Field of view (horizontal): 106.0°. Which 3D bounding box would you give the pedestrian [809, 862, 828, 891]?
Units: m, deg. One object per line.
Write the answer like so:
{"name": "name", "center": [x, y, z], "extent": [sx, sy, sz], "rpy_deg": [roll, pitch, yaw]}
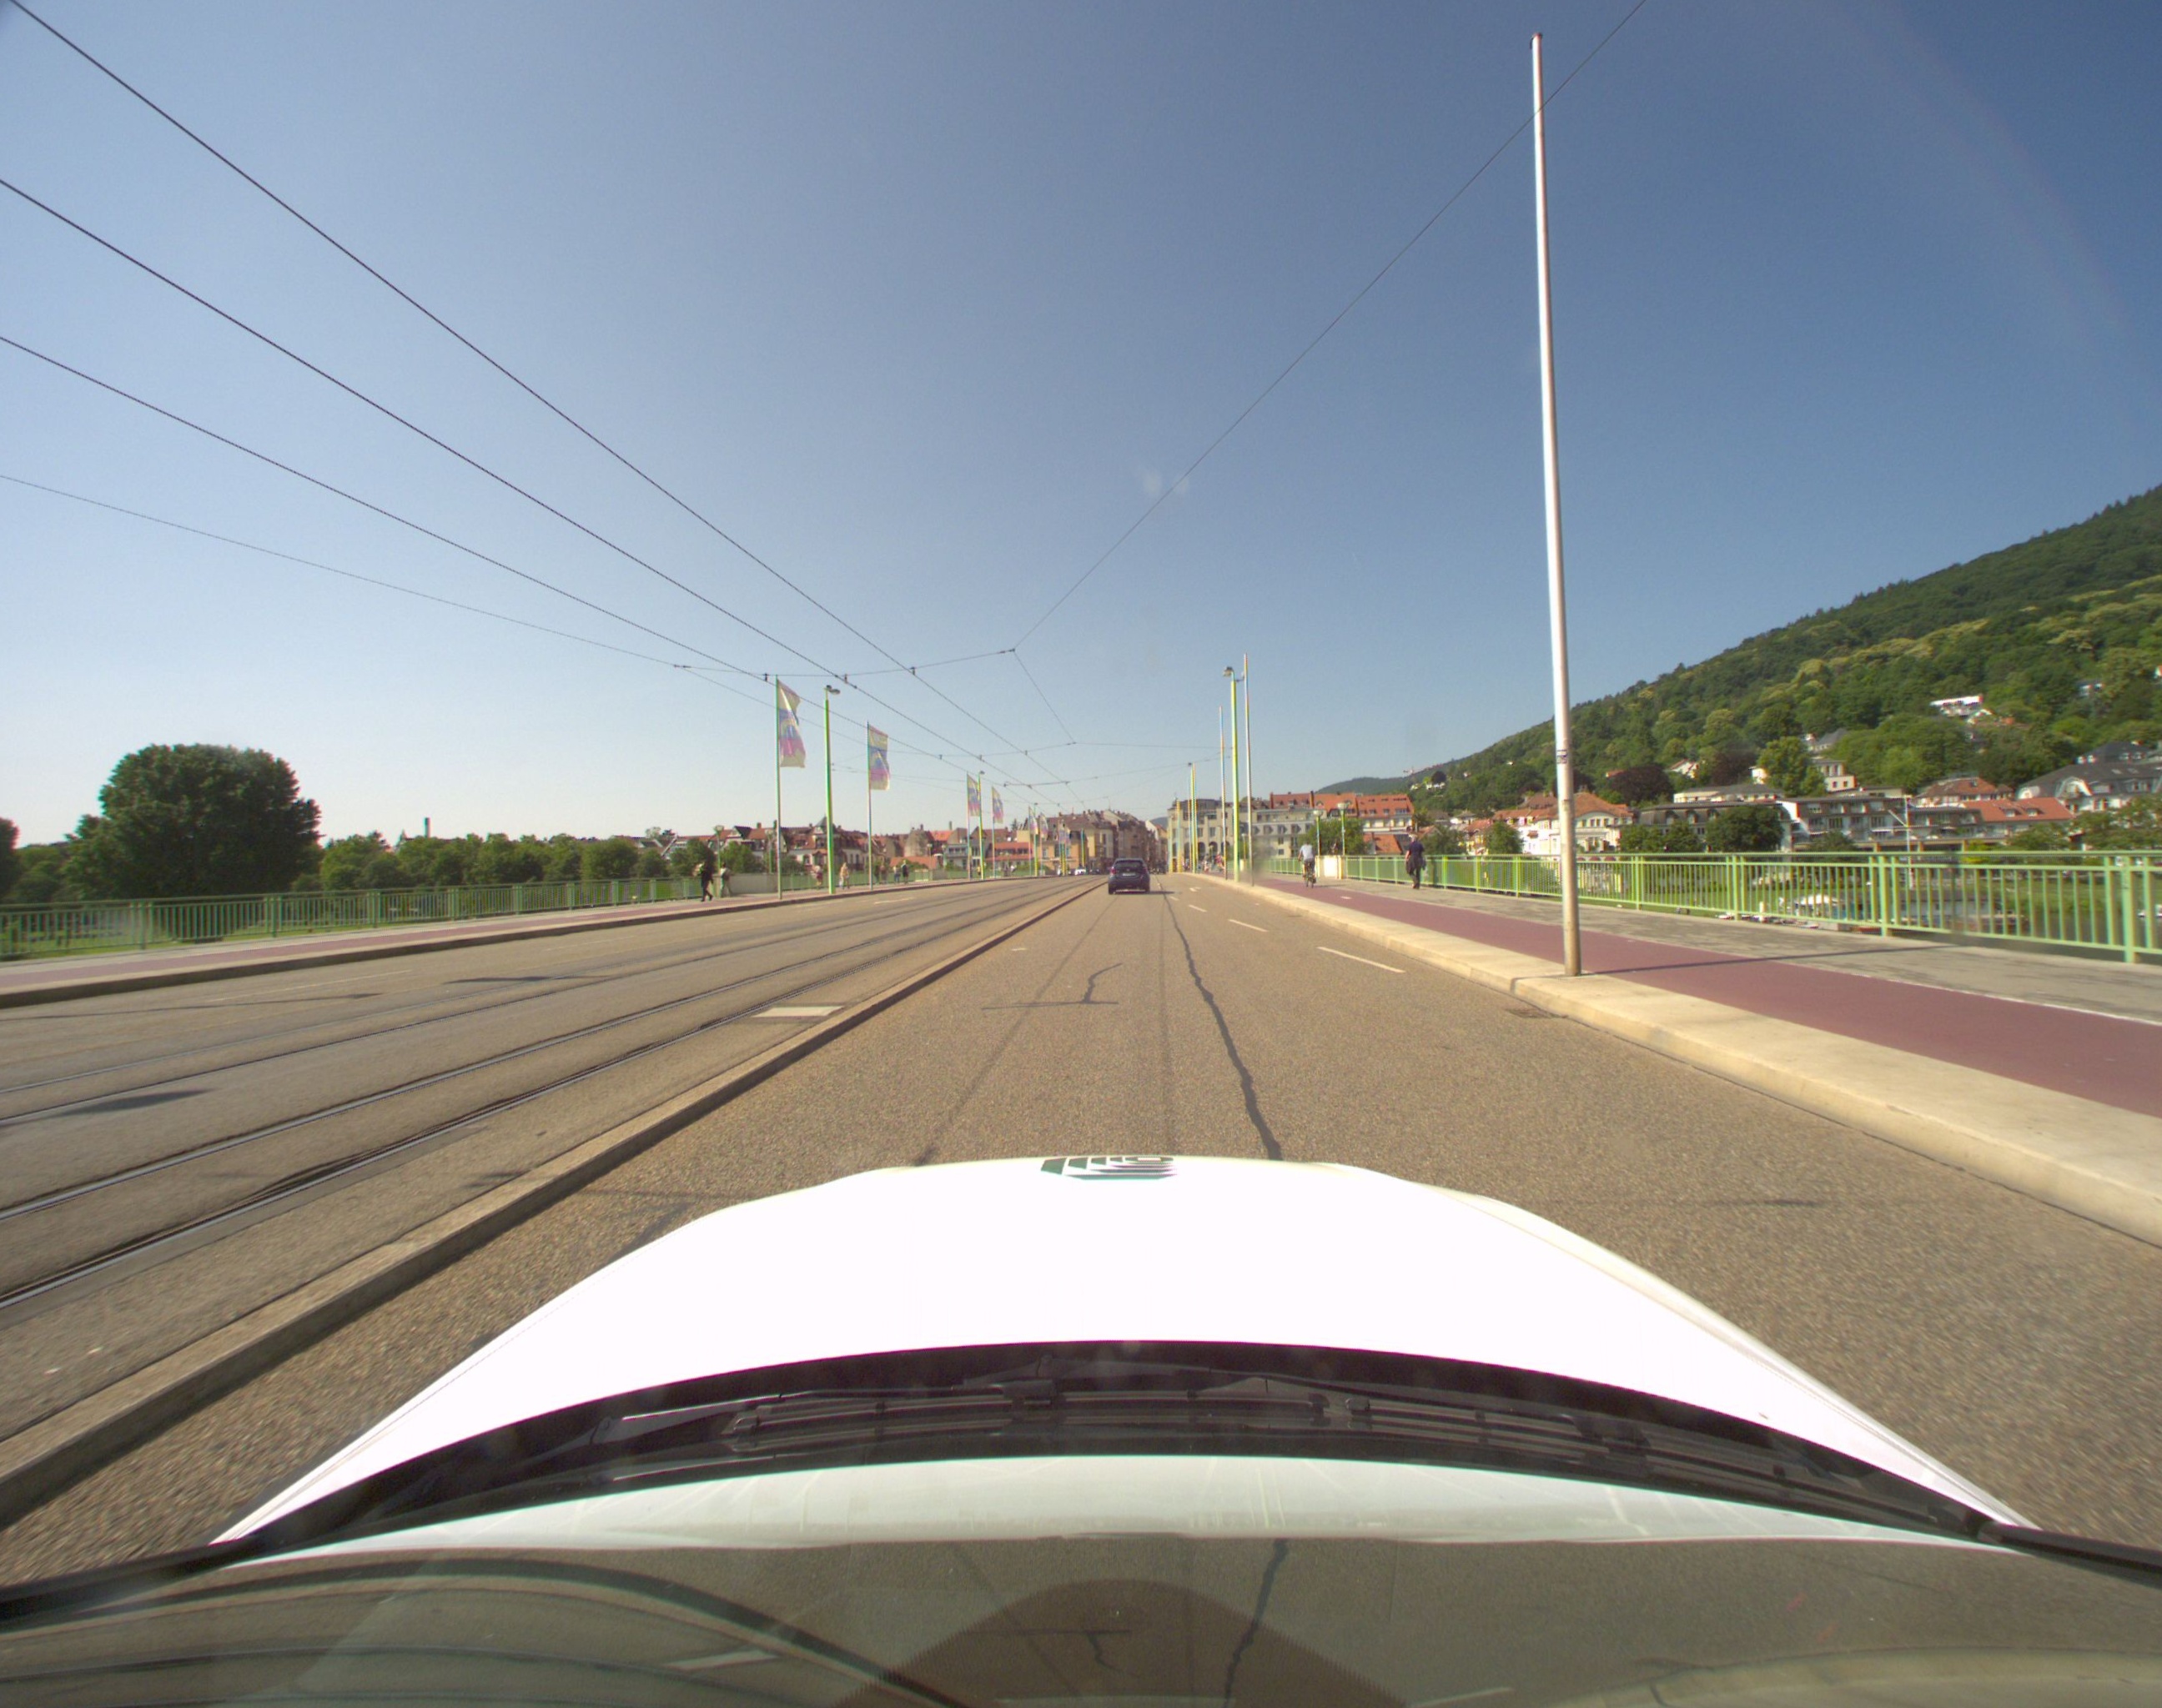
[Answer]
{"name": "pedestrian", "center": [-16.026, 1.349, 49.761], "extent": [0.751, 1.722, 1.176], "rpy_deg": [-1, -1, 2]}

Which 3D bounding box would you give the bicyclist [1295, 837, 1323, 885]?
{"name": "bicyclist", "center": [8.642, 0.273, 30.861], "extent": [0.671, 1.744, 1.150], "rpy_deg": [-2, -1, 0]}

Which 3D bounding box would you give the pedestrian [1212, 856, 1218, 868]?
{"name": "pedestrian", "center": [16.740, 0.994, 102.064], "extent": [0.596, 1.586, 0.867], "rpy_deg": [-2, -1, 2]}

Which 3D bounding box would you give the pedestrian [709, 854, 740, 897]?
{"name": "pedestrian", "center": [-16.969, 1.006, 38.783], "extent": [0.895, 2.013, 1.042], "rpy_deg": [-2, 0, 2]}

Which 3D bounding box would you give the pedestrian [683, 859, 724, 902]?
{"name": "pedestrian", "center": [-16.186, 1.113, 34.933], "extent": [1.093, 1.758, 1.296], "rpy_deg": [-2, 0, 2]}

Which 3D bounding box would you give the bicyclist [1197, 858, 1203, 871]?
{"name": "bicyclist", "center": [14.761, 1.310, 101.292], "extent": [0.625, 1.689, 0.869], "rpy_deg": [-2, -1, 3]}

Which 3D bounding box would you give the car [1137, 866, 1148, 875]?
{"name": "car", "center": [10.836, 2.852, 143.749], "extent": [1.797, 1.469, 4.001], "rpy_deg": [-3, -1, 2]}

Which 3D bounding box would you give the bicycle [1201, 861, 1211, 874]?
{"name": "bicycle", "center": [10.858, 1.171, 70.735], "extent": [0.616, 1.037, 2.052], "rpy_deg": [-2, -1, 3]}

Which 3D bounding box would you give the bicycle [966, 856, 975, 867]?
{"name": "bicycle", "center": [-11.204, 0.797, 82.652], "extent": [0.586, 1.096, 2.114], "rpy_deg": [-2, 0, 2]}

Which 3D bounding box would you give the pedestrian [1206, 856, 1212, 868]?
{"name": "pedestrian", "center": [15.986, 0.999, 102.071], "extent": [0.596, 1.586, 0.867], "rpy_deg": [-2, -1, 2]}

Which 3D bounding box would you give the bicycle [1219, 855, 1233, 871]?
{"name": "bicycle", "center": [11.098, 0.719, 62.420], "extent": [0.693, 1.193, 2.078], "rpy_deg": [-2, -1, -1]}

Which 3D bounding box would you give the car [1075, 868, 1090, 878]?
{"name": "car", "center": [0.217, 2.996, 129.088], "extent": [1.989, 1.409, 4.544], "rpy_deg": [-4, 1, -2]}

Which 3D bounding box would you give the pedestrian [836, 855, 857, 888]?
{"name": "pedestrian", "center": [-14.689, 1.103, 50.965], "extent": [0.966, 2.013, 1.101], "rpy_deg": [-2, 0, -1]}

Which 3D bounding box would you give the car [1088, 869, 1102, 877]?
{"name": "car", "center": [2.832, 3.825, 167.037], "extent": [1.980, 1.599, 4.351], "rpy_deg": [-2, -1, 11]}

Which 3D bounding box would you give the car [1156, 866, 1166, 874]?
{"name": "car", "center": [15.857, 3.072, 160.395], "extent": [1.794, 1.469, 4.007], "rpy_deg": [-3, -1, 7]}

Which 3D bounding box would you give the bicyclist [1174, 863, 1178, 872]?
{"name": "bicyclist", "center": [17.827, 2.514, 152.457], "extent": [0.650, 1.567, 1.340], "rpy_deg": [-3, -2, 6]}

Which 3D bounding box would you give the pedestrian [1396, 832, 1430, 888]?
{"name": "pedestrian", "center": [10.535, 0.177, 25.851], "extent": [0.653, 1.743, 0.978], "rpy_deg": [-2, 1, -1]}

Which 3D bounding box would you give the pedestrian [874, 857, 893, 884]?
{"name": "pedestrian", "center": [-15.064, 1.247, 62.031], "extent": [1.093, 2.013, 1.130], "rpy_deg": [-2, 0, 2]}

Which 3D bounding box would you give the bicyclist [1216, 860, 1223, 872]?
{"name": "bicyclist", "center": [12.766, 1.068, 75.031], "extent": [0.594, 1.101, 0.855], "rpy_deg": [-2, -1, 14]}

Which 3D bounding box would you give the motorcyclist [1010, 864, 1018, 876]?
{"name": "motorcyclist", "center": [-8.814, 2.152, 107.404], "extent": [0.797, 1.549, 1.070], "rpy_deg": [-2, -1, 4]}

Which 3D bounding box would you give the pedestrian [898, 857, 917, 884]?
{"name": "pedestrian", "center": [-13.304, 1.228, 62.514], "extent": [1.093, 2.013, 1.296], "rpy_deg": [-2, 0, 2]}

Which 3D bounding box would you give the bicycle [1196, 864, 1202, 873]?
{"name": "bicycle", "center": [14.624, 1.791, 101.292], "extent": [0.523, 1.178, 2.030], "rpy_deg": [-2, -1, 3]}

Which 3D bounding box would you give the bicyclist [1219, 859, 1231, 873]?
{"name": "bicyclist", "center": [11.102, 0.897, 62.833], "extent": [0.664, 1.045, 0.980], "rpy_deg": [-2, -1, -2]}

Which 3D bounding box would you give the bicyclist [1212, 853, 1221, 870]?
{"name": "bicyclist", "center": [12.886, 0.729, 77.477], "extent": [0.732, 1.635, 0.867], "rpy_deg": [-2, -1, 3]}

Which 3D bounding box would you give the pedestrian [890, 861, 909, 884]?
{"name": "pedestrian", "center": [-13.863, 1.385, 62.219], "extent": [1.093, 1.729, 1.296], "rpy_deg": [-2, 0, 2]}

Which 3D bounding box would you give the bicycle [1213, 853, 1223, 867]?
{"name": "bicycle", "center": [12.973, 0.580, 77.315], "extent": [0.616, 1.271, 2.217], "rpy_deg": [-2, -1, 3]}

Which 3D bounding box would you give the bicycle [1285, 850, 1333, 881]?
{"name": "bicycle", "center": [8.645, 0.417, 31.085], "extent": [0.789, 1.096, 3.744], "rpy_deg": [-2, 0, 0]}

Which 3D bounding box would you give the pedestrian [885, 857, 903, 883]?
{"name": "pedestrian", "center": [-15.014, 1.274, 65.393], "extent": [1.093, 2.013, 1.130], "rpy_deg": [-2, 0, 2]}

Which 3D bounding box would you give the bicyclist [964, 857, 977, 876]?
{"name": "bicyclist", "center": [-11.182, 1.261, 82.686], "extent": [1.093, 1.961, 1.130], "rpy_deg": [-2, 0, 2]}

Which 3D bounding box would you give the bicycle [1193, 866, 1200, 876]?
{"name": "bicycle", "center": [13.521, 1.964, 95.247], "extent": [0.591, 1.178, 1.941], "rpy_deg": [-2, -1, 3]}

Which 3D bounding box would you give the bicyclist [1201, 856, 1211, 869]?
{"name": "bicyclist", "center": [10.837, 0.736, 70.742], "extent": [0.732, 1.030, 1.176], "rpy_deg": [-2, -1, 3]}

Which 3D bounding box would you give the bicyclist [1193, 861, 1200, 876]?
{"name": "bicyclist", "center": [13.519, 1.660, 95.182], "extent": [0.653, 1.676, 0.869], "rpy_deg": [-2, -1, 3]}

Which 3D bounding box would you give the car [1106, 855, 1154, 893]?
{"name": "car", "center": [2.052, 0.802, 34.737], "extent": [1.902, 1.540, 4.002], "rpy_deg": [0, 0, 2]}

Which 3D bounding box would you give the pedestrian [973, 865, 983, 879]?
{"name": "pedestrian", "center": [-12.400, 2.166, 98.290], "extent": [0.894, 1.658, 1.030], "rpy_deg": [-1, -1, 7]}

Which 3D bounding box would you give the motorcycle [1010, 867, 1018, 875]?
{"name": "motorcycle", "center": [-8.804, 2.225, 107.399], "extent": [0.698, 1.110, 2.181], "rpy_deg": [-2, -1, 4]}

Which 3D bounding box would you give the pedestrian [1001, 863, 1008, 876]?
{"name": "pedestrian", "center": [-10.984, 2.218, 116.522], "extent": [0.826, 1.722, 1.095], "rpy_deg": [-2, -1, 5]}
